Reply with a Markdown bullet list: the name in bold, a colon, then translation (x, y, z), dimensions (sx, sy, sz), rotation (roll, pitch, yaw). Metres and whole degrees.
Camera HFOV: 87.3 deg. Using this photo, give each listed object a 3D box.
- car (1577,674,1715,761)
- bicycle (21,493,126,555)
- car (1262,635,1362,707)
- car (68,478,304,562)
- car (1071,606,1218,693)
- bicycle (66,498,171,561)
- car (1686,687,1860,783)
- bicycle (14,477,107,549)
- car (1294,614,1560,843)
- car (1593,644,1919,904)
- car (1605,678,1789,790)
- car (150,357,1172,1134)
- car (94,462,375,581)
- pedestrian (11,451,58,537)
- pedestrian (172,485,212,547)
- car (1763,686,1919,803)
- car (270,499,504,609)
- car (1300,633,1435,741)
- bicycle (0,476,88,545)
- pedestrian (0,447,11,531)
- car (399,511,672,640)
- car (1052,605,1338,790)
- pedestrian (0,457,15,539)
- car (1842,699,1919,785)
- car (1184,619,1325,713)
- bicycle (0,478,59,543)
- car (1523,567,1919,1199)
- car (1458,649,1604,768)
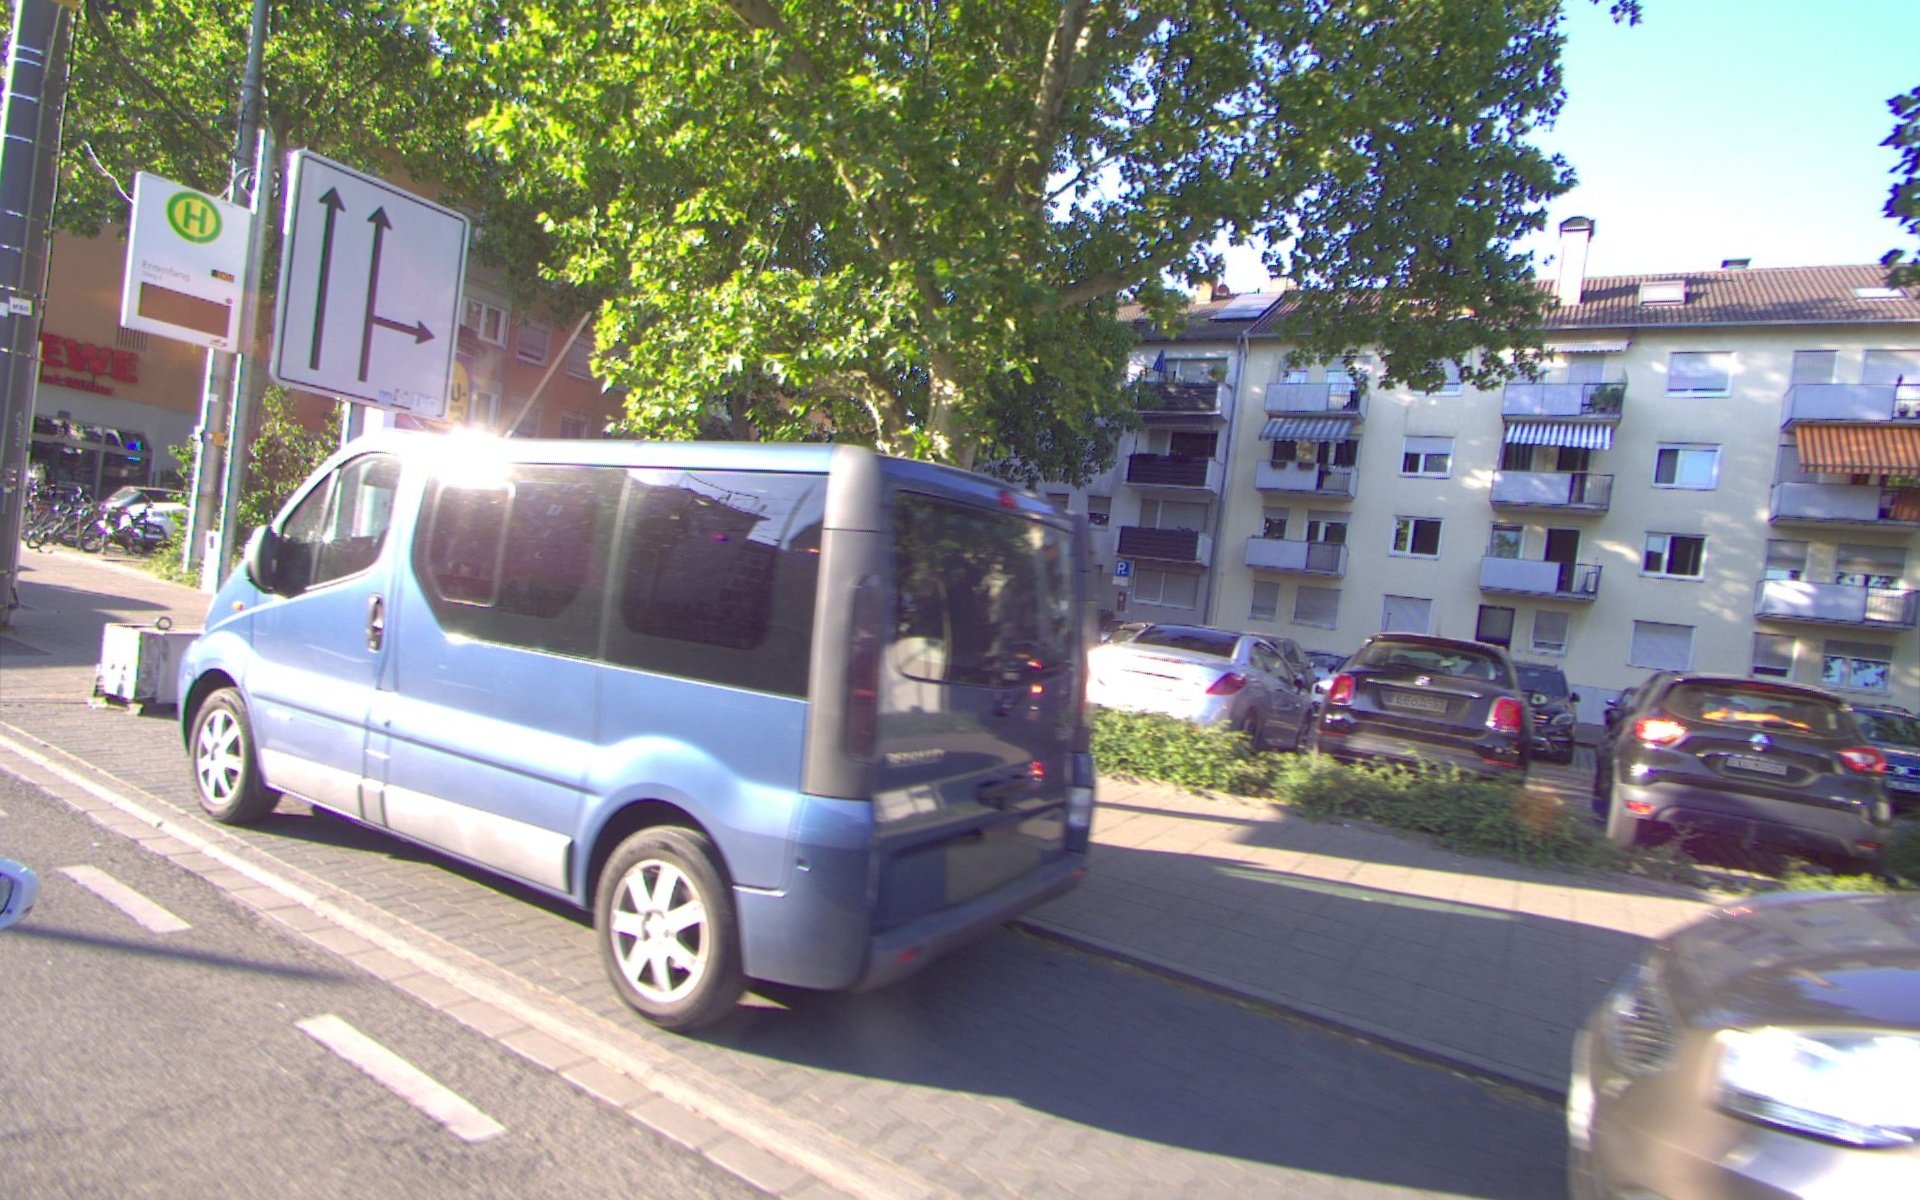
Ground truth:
- **car**: translation (15.554, 2.582, 23.042), dimensions (1.948, 1.514, 4.290), rotation (7, 0, 28)
- **bicycle**: translation (-16.919, -1.428, 19.256), dimensions (0.640, 1.026, 1.581), rotation (7, 0, -6)
- **car**: translation (9.218, 1.827, 26.165), dimensions (1.786, 1.514, 3.878), rotation (7, 0, 28)
- **car**: translation (-18.528, -1.875, 24.275), dimensions (1.967, 1.449, 4.020), rotation (4, -2, 30)
- **car**: translation (4.283, 1.150, 22.816), dimensions (1.965, 1.553, 4.290), rotation (7, 0, 28)
- **bicycle**: translation (-16.052, -1.325, 19.233), dimensions (0.640, 1.026, 1.677), rotation (7, 0, -6)
- **car**: translation (17.404, 2.813, 21.795), dimensions (1.965, 1.514, 4.290), rotation (7, 0, 28)
- **bicycle**: translation (-17.812, -1.695, 19.955), dimensions (0.637, 1.242, 1.577), rotation (6, 1, -15)
- **car**: translation (4.875, 1.166, 10.147), dimensions (1.773, 1.619, 4.115), rotation (7, 0, 32)
- **car**: translation (6.921, 1.444, 9.141), dimensions (1.773, 1.568, 4.120), rotation (7, -2, 32)
- **car**: translation (13.471, 2.359, 18.689), dimensions (1.965, 1.514, 4.290), rotation (7, 0, 28)
- **car**: translation (-1.596, 0.226, 4.688), dimensions (4.487, 2.104, 1.887), rotation (7, 0, 32)
- **car**: translation (-16.210, -1.683, 22.772), dimensions (1.966, 1.727, 4.631), rotation (7, -3, 30)
- **pedestrian**: translation (-20.466, -2.331, 22.248), dimensions (0.639, 1.807, 0.528), rotation (8, 5, 24)
- **pedestrian**: translation (-20.733, -2.258, 27.166), dimensions (0.413, 1.588, 0.638), rotation (7, 1, 2)
- **car**: translation (15.343, 2.384, 16.883), dimensions (1.965, 1.553, 4.290), rotation (7, 0, 28)
- **car**: translation (-11.295, -0.863, 20.044), dimensions (1.744, 1.499, 3.507), rotation (8, -3, 30)
- **car**: translation (8.359, 1.711, 20.402), dimensions (1.965, 1.712, 4.290), rotation (7, 0, 28)
- **bicycle**: translation (-18.748, -1.804, 20.482), dimensions (0.640, 1.242, 1.581), rotation (7, 1, -6)
- **pedestrian**: translation (-21.139, -2.443, 21.673), dimensions (0.756, 1.776, 0.806), rotation (9, 5, 31)
- **car**: translation (-7.161, -0.348, 17.341), dimensions (1.826, 1.511, 3.849), rotation (7, -3, 32)
- **car**: translation (2.853, 1.038, 11.445), dimensions (1.773, 1.513, 4.115), rotation (7, 0, 32)
- **pedestrian**: translation (-20.152, -2.139, 20.705), dimensions (0.972, 1.659, 0.659), rotation (8, 5, 24)
- **car**: translation (19.734, 2.933, 20.159), dimensions (1.965, 1.514, 4.290), rotation (7, 0, 28)
- **car**: translation (6.400, 1.406, 21.525), dimensions (1.965, 1.553, 4.290), rotation (7, 0, 28)
- **bicycle**: translation (-19.436, -1.849, 20.749), dimensions (0.397, 1.242, 1.518), rotation (7, 0, -8)
- **car**: translation (3.247, 1.031, 1.618), dimensions (3.934, 1.651, 1.798), rotation (7, 0, 32)
- **car**: translation (10.608, 1.951, 18.937), dimensions (1.965, 1.712, 4.451), rotation (7, 0, 28)
